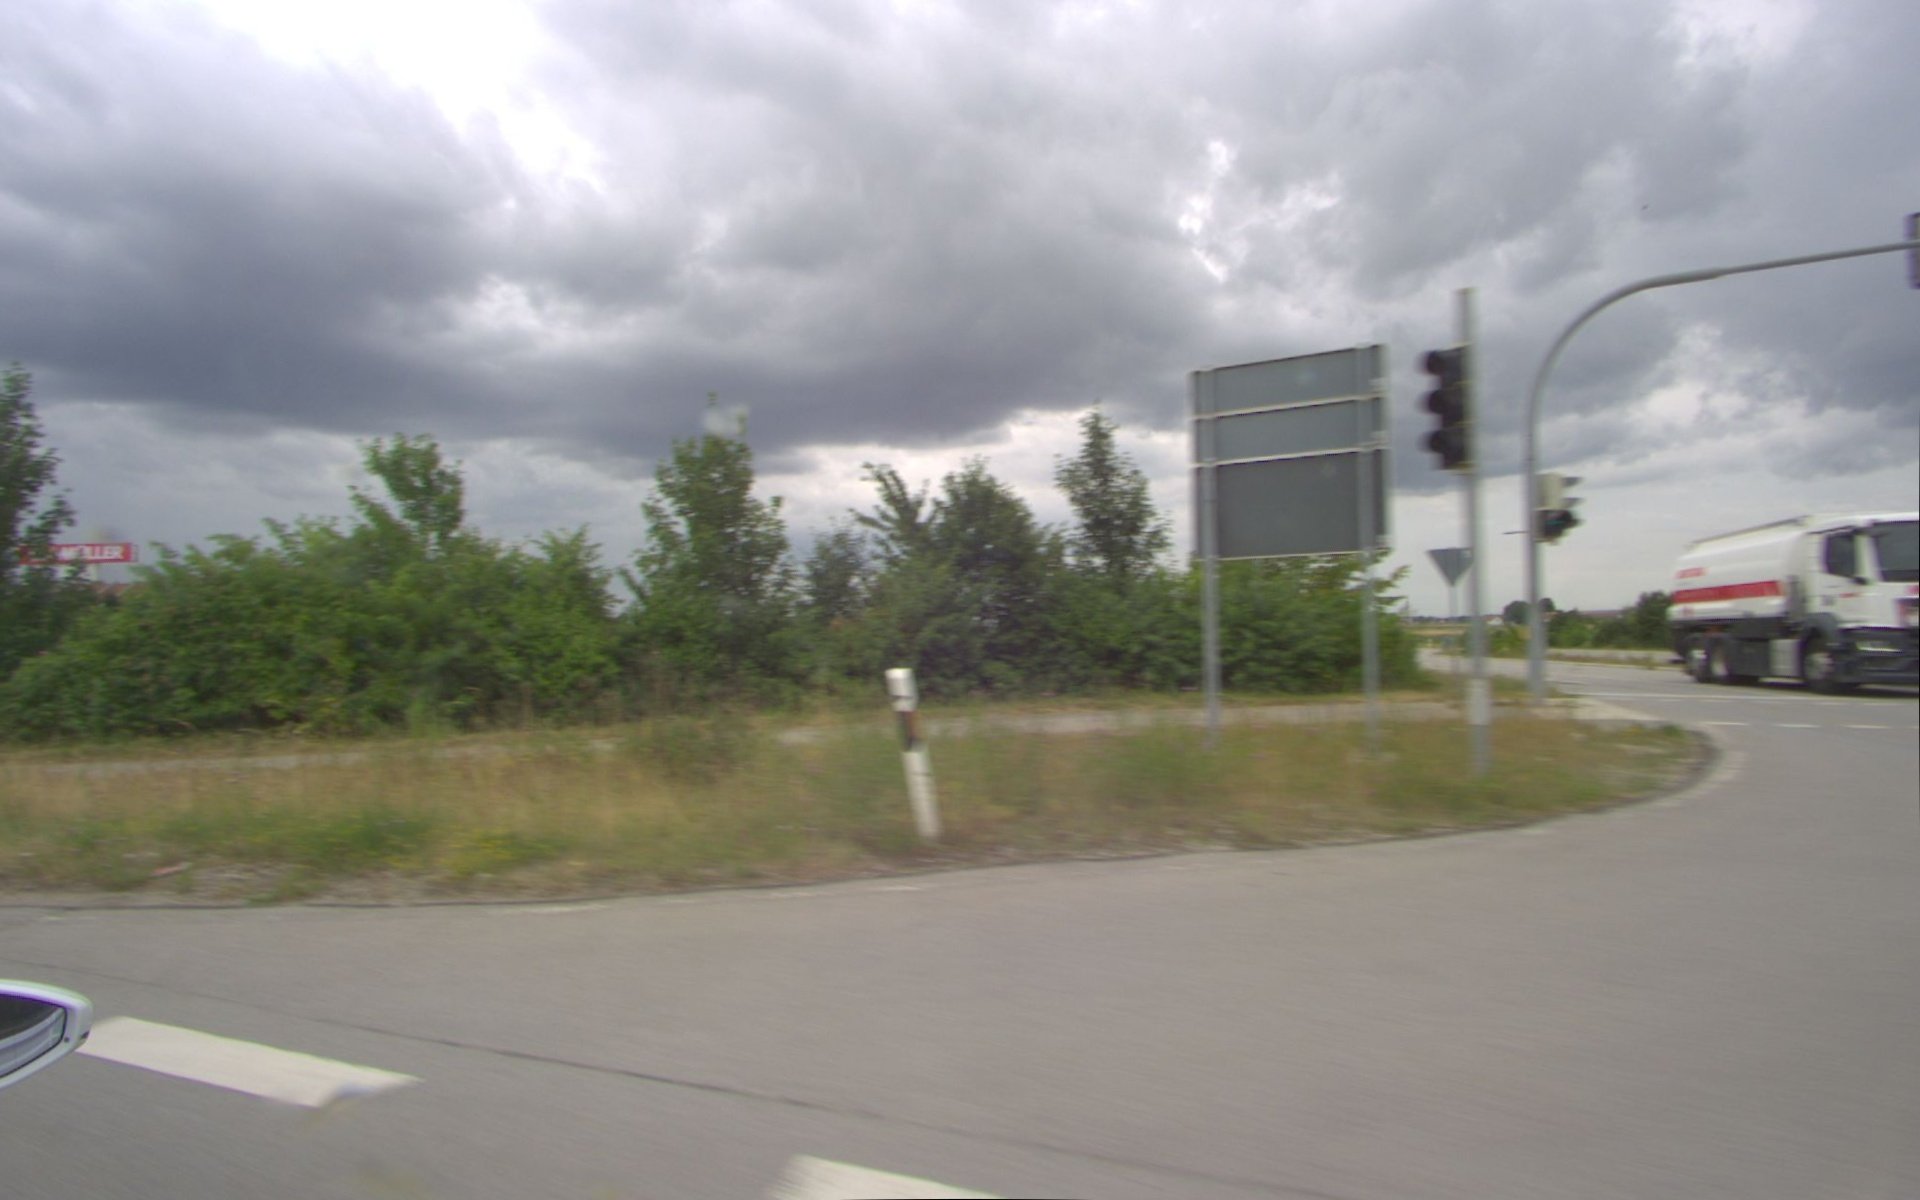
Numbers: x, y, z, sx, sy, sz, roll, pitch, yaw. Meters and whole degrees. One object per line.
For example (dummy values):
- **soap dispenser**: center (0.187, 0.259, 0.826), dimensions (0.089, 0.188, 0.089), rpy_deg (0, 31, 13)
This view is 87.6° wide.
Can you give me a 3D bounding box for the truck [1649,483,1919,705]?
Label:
- **truck**: center (16.727, 0.028, 19.552), dimensions (2.828, 3.451, 8.641), rpy_deg (-2, -2, 17)
